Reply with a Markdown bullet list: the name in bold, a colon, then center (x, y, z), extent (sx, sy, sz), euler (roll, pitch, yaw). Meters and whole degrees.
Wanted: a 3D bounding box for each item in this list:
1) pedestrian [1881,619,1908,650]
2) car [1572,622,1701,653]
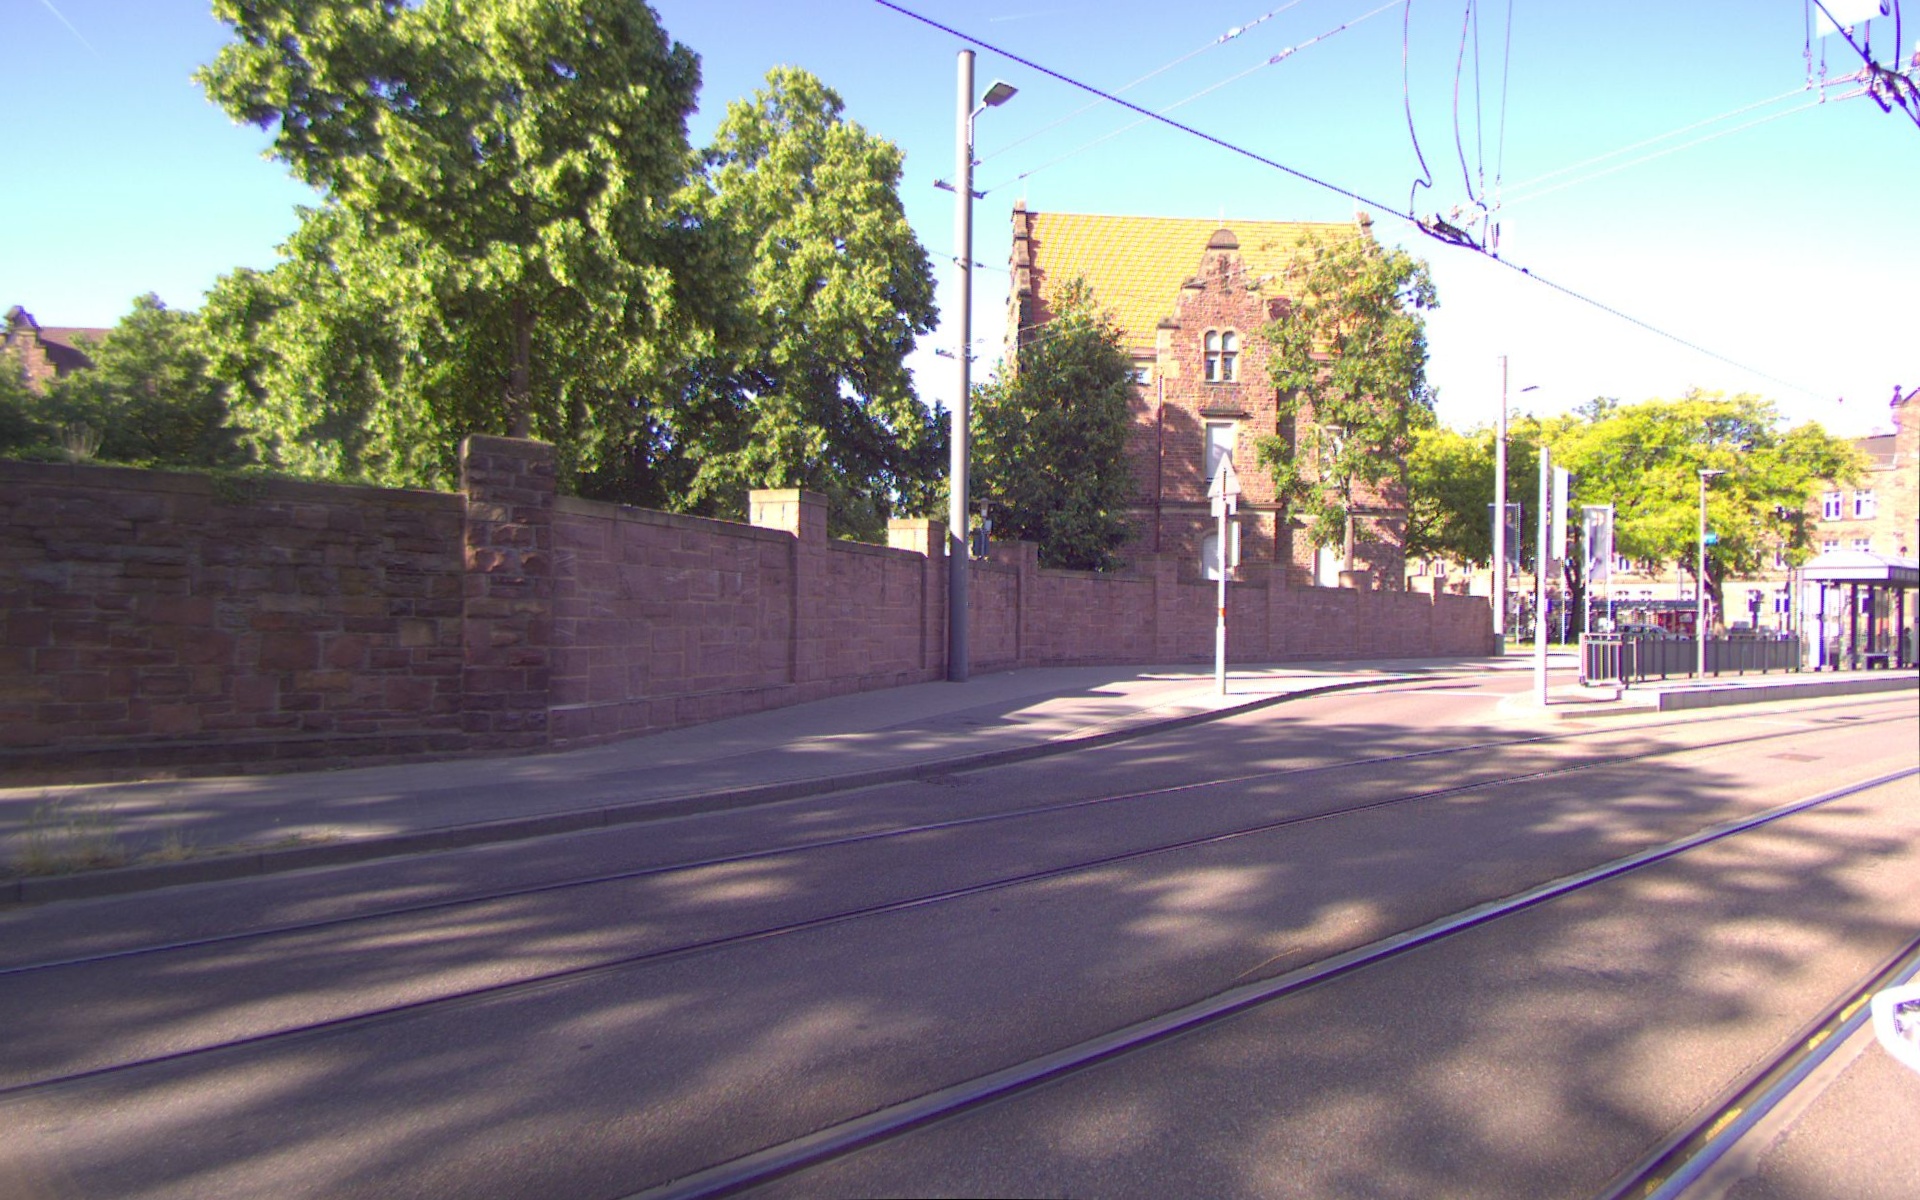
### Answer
- **pedestrian**: center (52.851, 1.963, 56.805), extent (1.017, 1.714, 0.839), euler (2, 0, -30)
- **car**: center (47.072, 2.581, 70.136), extent (2.957, 1.946, 6.915), euler (1, -1, -30)
